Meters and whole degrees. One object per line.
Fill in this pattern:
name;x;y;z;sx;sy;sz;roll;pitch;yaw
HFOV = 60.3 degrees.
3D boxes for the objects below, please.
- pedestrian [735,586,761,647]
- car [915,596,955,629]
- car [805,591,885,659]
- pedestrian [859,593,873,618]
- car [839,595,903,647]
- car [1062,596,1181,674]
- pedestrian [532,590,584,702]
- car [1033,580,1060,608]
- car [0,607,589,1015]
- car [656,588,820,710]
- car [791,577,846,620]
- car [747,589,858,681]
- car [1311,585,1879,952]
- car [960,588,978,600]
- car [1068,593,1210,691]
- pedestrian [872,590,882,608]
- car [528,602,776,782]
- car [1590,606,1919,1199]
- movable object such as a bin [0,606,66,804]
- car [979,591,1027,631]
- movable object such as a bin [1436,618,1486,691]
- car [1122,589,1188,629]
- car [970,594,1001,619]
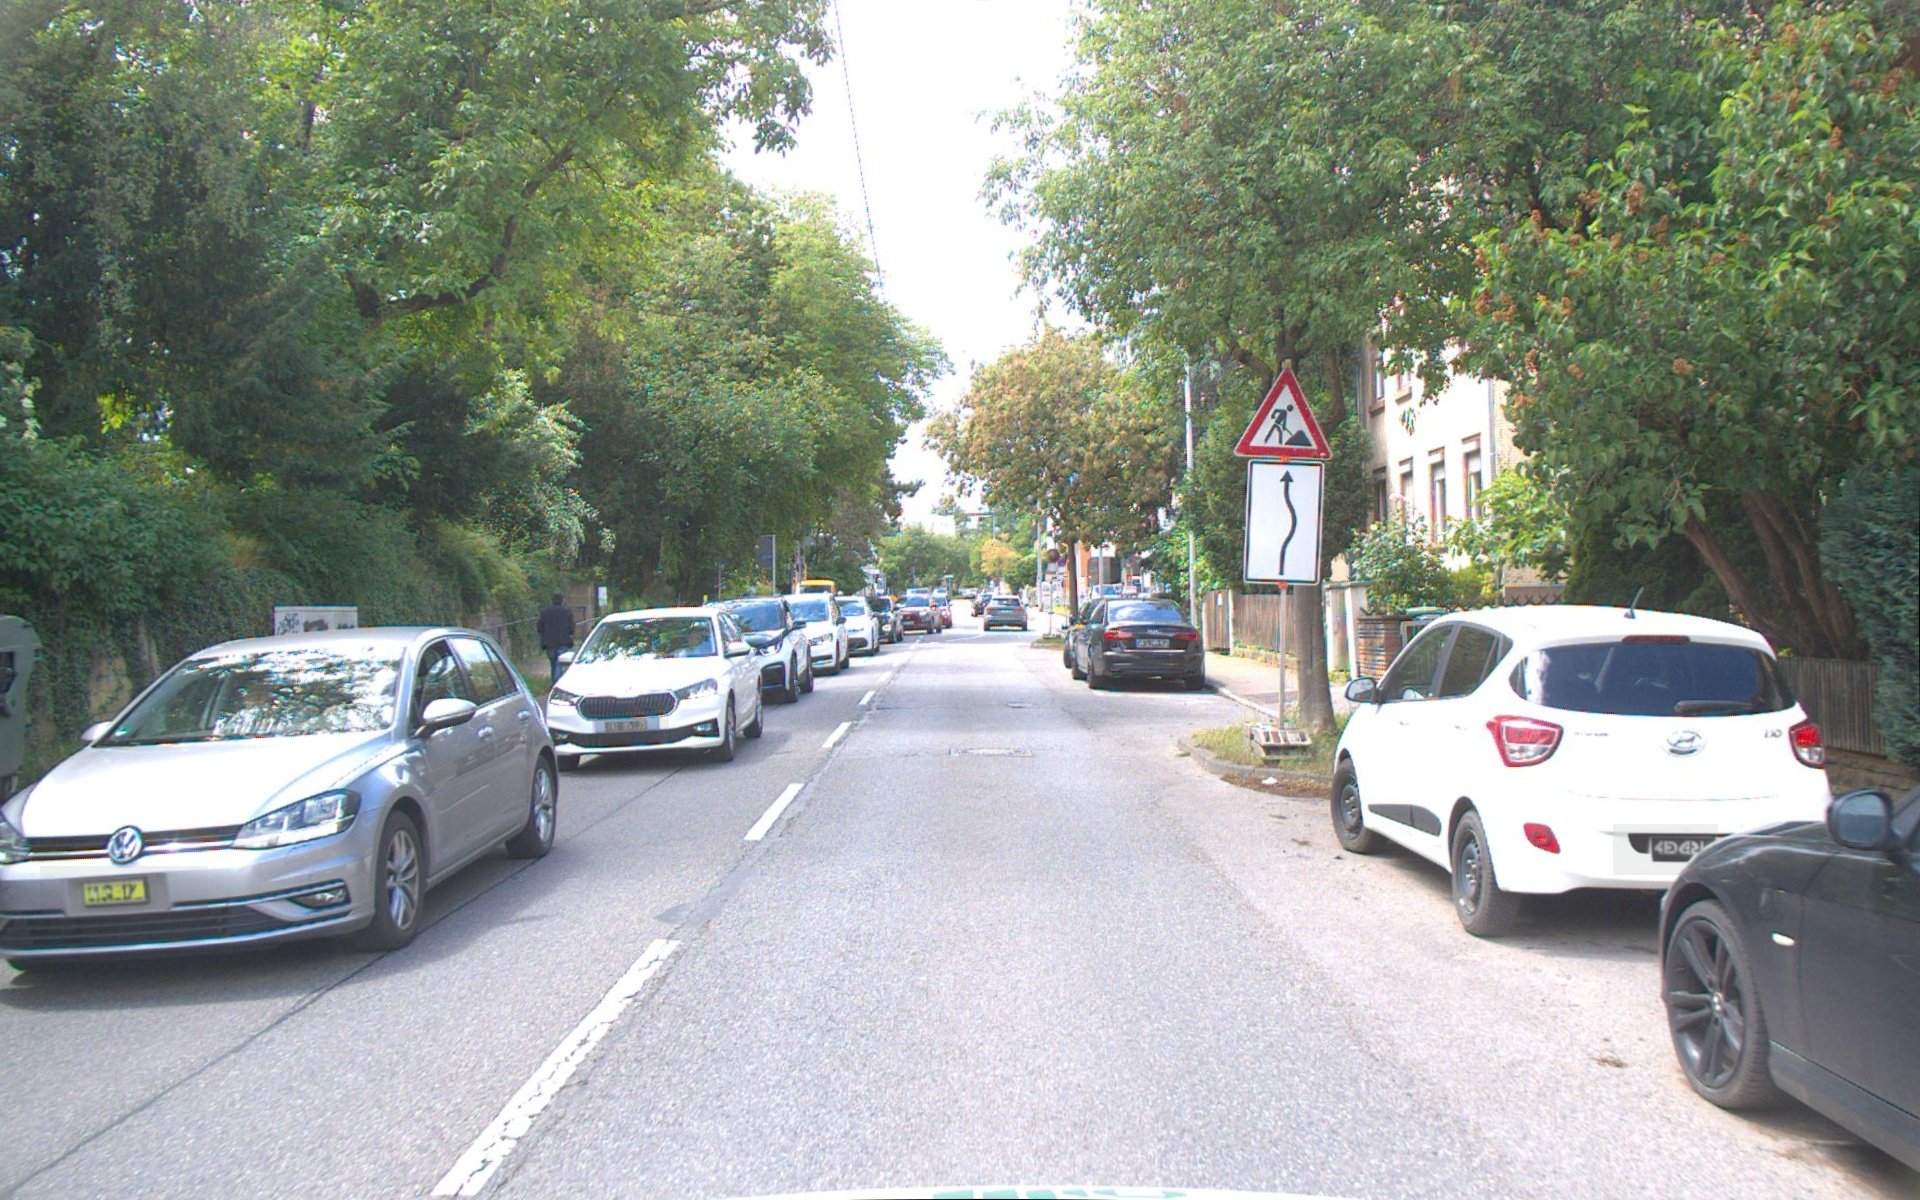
pedestrian;-6.309;0.496;49.273;0.700;1.793;1.120;-1;-1;-6
car;-1.136;0.572;75.504;1.656;1.450;3.438;-1;-1;2
car;-3.007;0.631;44.062;1.748;1.619;4.154;-3;0;0
pedestrian;-5.479;0.309;96.065;0.692;1.464;0.711;-1;-1;-11
car;-2.934;0.683;55.552;1.752;1.568;4.264;-3;0;1
car;3.163;0.658;33.271;1.787;1.442;4.507;0;0;-2
pedestrian;-6.244;0.704;25.713;0.640;1.696;0.931;-1;-1;-6
car;6.657;-0.434;127.915;1.952;2.049;4.000;-1;-1;1
car;-3.295;0.841;8.575;1.674;1.481;4.287;-4;0;0
car;-3.305;0.683;25.411;1.889;1.573;4.086;-4;0;0
car;-7.051;-0.055;82.654;2.101;2.015;4.932;-1;-1;2
car;-3.162;0.659;34.024;1.750;1.676;4.490;-3;0;0
car;3.128;0.713;8.987;1.588;1.534;3.778;-1;0;0
car;1.144;-0.800;212.530;2.067;1.527;4.268;-1;0;2
car;2.938;0.640;28.061;1.765;1.470;4.886;1;0;-1
pedestrian;-6.630;-0.067;132.798;0.690;1.464;0.714;-1;-1;4
car;-2.954;0.818;16.680;1.724;1.464;3.970;-3;1;-1
car;3.244;0.764;3.711;1.952;1.448;4.589;-1;0;1
movable object such as a bin;-7.765;0.787;12.593;1.304;1.452;1.212;-1;-1;-7
car;1.850;0.445;69.926;1.935;1.539;4.268;2;0;2
movable object such as a bin;6.906;0.744;22.830;0.497;0.951;0.520;-3;2;-1
car;6.965;0.296;59.410;1.689;1.339;4.265;-1;0;-2
car;1.608;0.415;104.715;1.779;1.527;4.265;0;0;-2
